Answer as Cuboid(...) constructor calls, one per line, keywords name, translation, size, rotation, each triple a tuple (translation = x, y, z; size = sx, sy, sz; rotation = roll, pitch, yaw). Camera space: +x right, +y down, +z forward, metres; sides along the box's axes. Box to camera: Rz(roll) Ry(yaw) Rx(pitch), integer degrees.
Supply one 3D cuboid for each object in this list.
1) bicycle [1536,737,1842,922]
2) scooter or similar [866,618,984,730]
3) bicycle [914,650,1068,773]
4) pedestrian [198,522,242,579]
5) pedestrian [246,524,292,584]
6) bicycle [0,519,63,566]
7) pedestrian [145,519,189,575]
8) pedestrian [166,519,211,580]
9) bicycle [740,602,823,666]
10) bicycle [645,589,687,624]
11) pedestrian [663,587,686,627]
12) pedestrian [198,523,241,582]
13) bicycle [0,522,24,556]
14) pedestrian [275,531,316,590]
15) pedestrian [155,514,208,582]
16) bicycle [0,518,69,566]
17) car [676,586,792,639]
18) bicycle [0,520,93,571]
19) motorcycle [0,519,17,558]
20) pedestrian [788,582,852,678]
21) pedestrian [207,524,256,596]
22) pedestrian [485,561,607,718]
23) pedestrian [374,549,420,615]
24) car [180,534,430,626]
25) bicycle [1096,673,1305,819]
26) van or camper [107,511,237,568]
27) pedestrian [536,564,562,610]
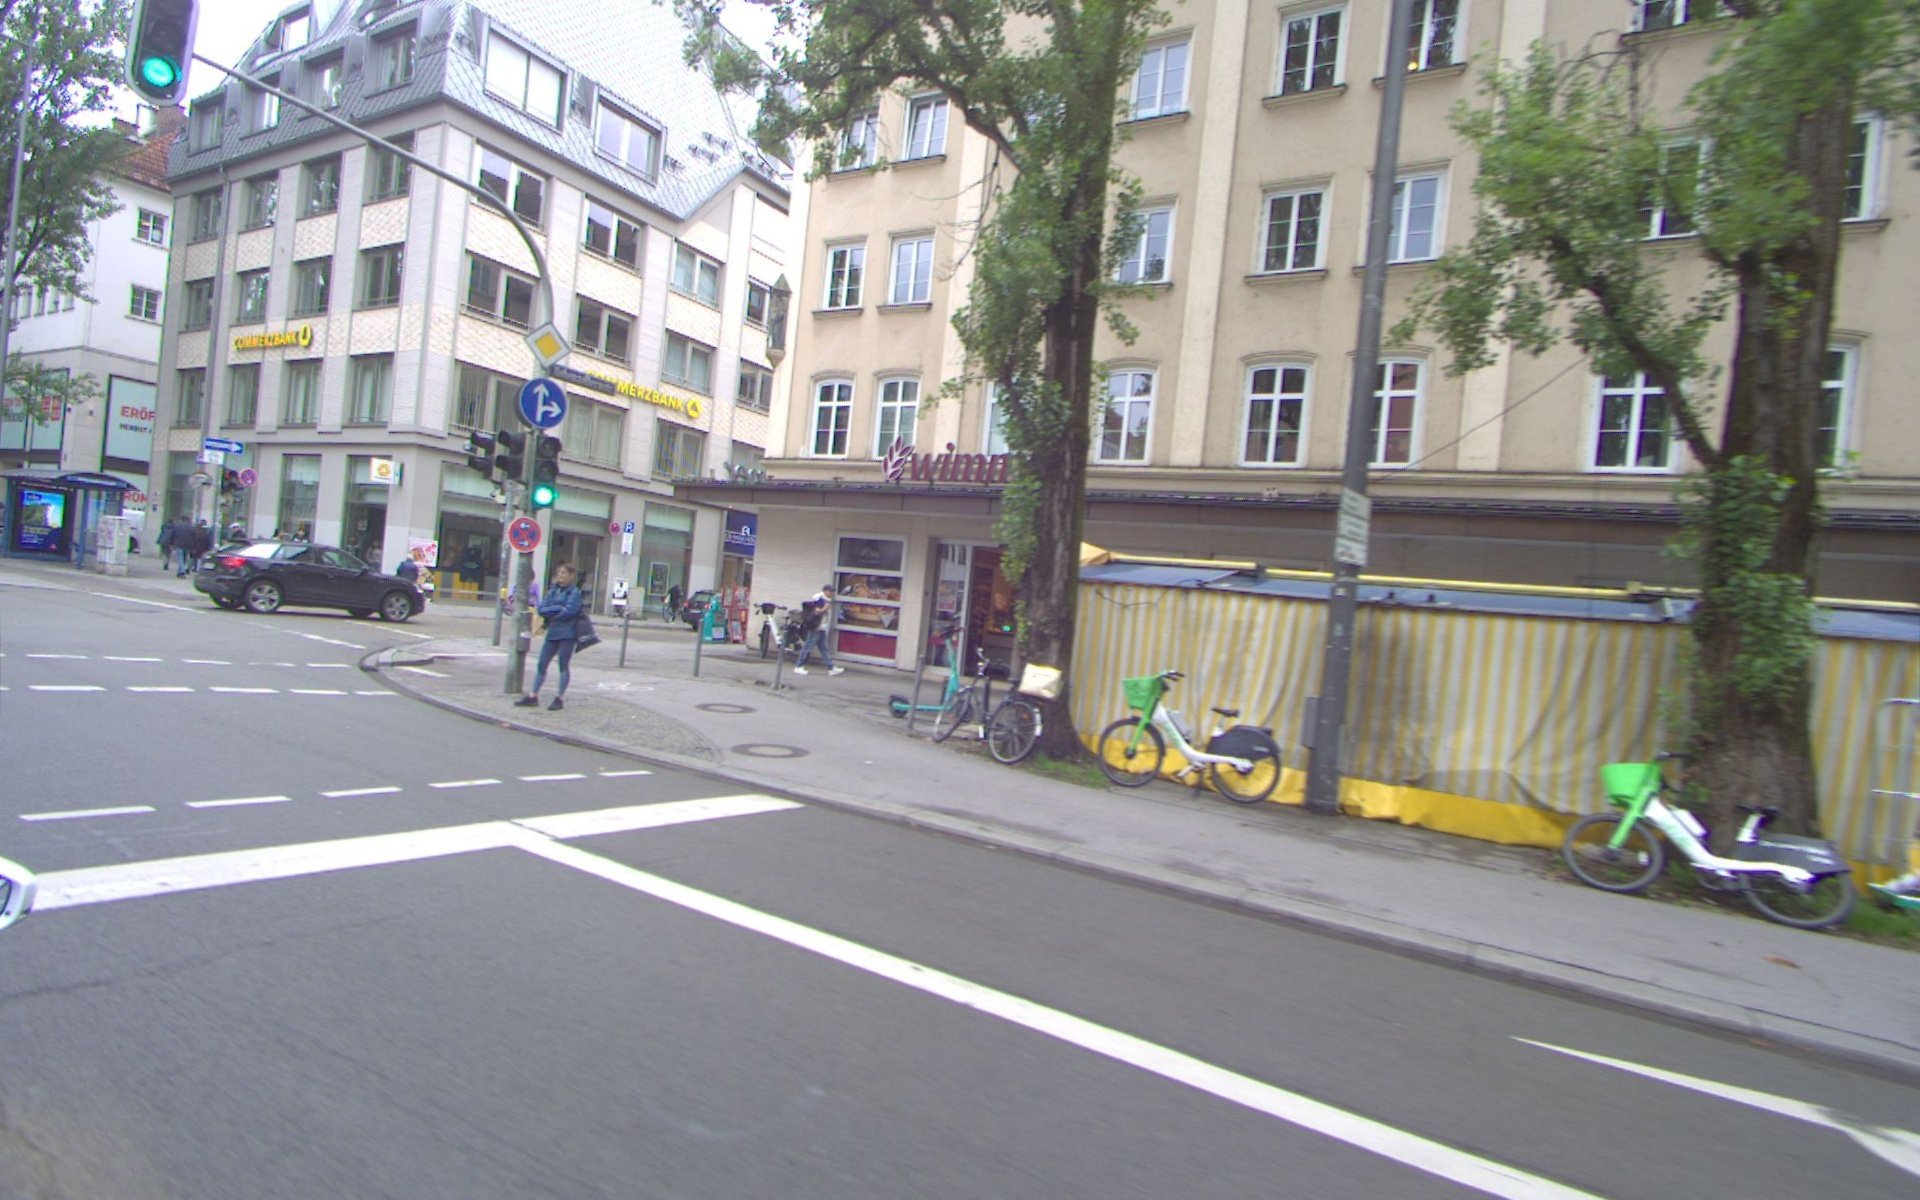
Cuboid(name="bicycle", translation=(5.425, 1.679, 7.622), size=(1.740, 0.987, 0.509), rotation=(6, 0, 30))
Cuboid(name="scooter or similar", translation=(-0.449, 0.938, 12.946), size=(1.345, 1.259, 0.408), rotation=(6, 0, 15))
Cuboid(name="bicycle", translation=(0.299, 1.188, 11.035), size=(0.404, 1.081, 1.790), rotation=(12, -5, -42))
Cuboid(name="pedestrian", translation=(-24.365, -1.620, 33.106), size=(0.947, 1.739, 0.750), rotation=(6, 0, 33))
Cuboid(name="pedestrian", translation=(-21.745, -1.444, 31.661), size=(1.000, 1.780, 0.750), rotation=(6, 0, 33))
Cuboid(name="bicycle", translation=(-29.373, -1.830, 31.078), size=(0.622, 1.268, 2.346), rotation=(6, -1, 31))
Cuboid(name="pedestrian", translation=(-25.573, -1.708, 32.454), size=(0.947, 1.698, 0.750), rotation=(6, 1, 33))
Cuboid(name="pedestrian", translation=(-23.900, -1.568, 31.167), size=(0.845, 1.779, 0.750), rotation=(4, -1, 33))
Cuboid(name="bicycle", translation=(-3.821, 0.720, 21.519), size=(1.781, 1.184, 0.435), rotation=(5, -1, 30))
Cuboid(name="bicycle", translation=(-11.145, 0.256, 38.184), size=(0.440, 1.227, 1.743), rotation=(6, 0, 21))
Cuboid(name="pedestrian", translation=(-10.734, 0.254, 37.804), size=(0.574, 1.423, 0.444), rotation=(6, 0, 28))
Cuboid(name="pedestrian", translation=(-23.453, -1.490, 31.847), size=(0.845, 1.779, 0.750), rotation=(4, -1, 33))
Cuboid(name="bicycle", translation=(-31.667, -2.063, 32.312), size=(0.860, 1.029, 2.151), rotation=(6, -1, 31))
Cuboid(name="pedestrian", translation=(-21.398, -1.256, 32.405), size=(0.699, 1.779, 0.750), rotation=(6, 0, 33))
Cuboid(name="pedestrian", translation=(-22.744, -1.521, 29.392), size=(0.875, 1.840, 0.819), rotation=(6, 0, 30))
Cuboid(name="bicycle", translation=(-28.780, -1.799, 30.678), size=(0.469, 1.268, 2.318), rotation=(6, -1, 31))
Cuboid(name="car", translation=(-8.214, 0.476, 36.881), size=(1.731, 1.568, 3.990), rotation=(6, -1, 32))
Cuboid(name="bicycle", translation=(-27.607, -1.644, 30.225), size=(2.225, 1.268, 0.473), rotation=(7, 0, -35))
Cuboid(name="motorcycle", translation=(-30.388, -1.991, 31.070), size=(0.501, 1.154, 1.726), rotation=(6, 0, 32))
Cuboid(name="pedestrian", translation=(-2.631, 0.559, 18.909), size=(0.847, 1.723, 0.665), rotation=(4, -1, 33))
Cuboid(name="pedestrian", translation=(-19.361, -1.058, 26.725), size=(0.740, 1.780, 0.709), rotation=(6, 0, 33))
Cuboid(name="pedestrian", translation=(-4.639, 0.441, 11.285), size=(0.849, 1.630, 0.767), rotation=(6, 1, 27))
Cuboid(name="pedestrian", translation=(-14.810, -0.470, 26.479), size=(0.722, 1.657, 0.750), rotation=(4, 1, 34))
Cuboid(name="car", translation=(-13.675, -0.363, 21.216), size=(1.731, 1.479, 3.989), rotation=(6, -1, 34))
Cuboid(name="bicycle", translation=(2.233, 1.325, 9.436), size=(1.740, 1.061, 0.509), rotation=(6, 0, 30))
Cuboid(name="van or camper", translation=(-35.244, -2.665, 45.084), size=(1.868, 1.888, 4.108), rotation=(5, -2, 35))
Cuboid(name="pedestrian", translation=(-14.537, -0.462, 35.555), size=(0.574, 1.550, 0.444), rotation=(6, 0, 28))
